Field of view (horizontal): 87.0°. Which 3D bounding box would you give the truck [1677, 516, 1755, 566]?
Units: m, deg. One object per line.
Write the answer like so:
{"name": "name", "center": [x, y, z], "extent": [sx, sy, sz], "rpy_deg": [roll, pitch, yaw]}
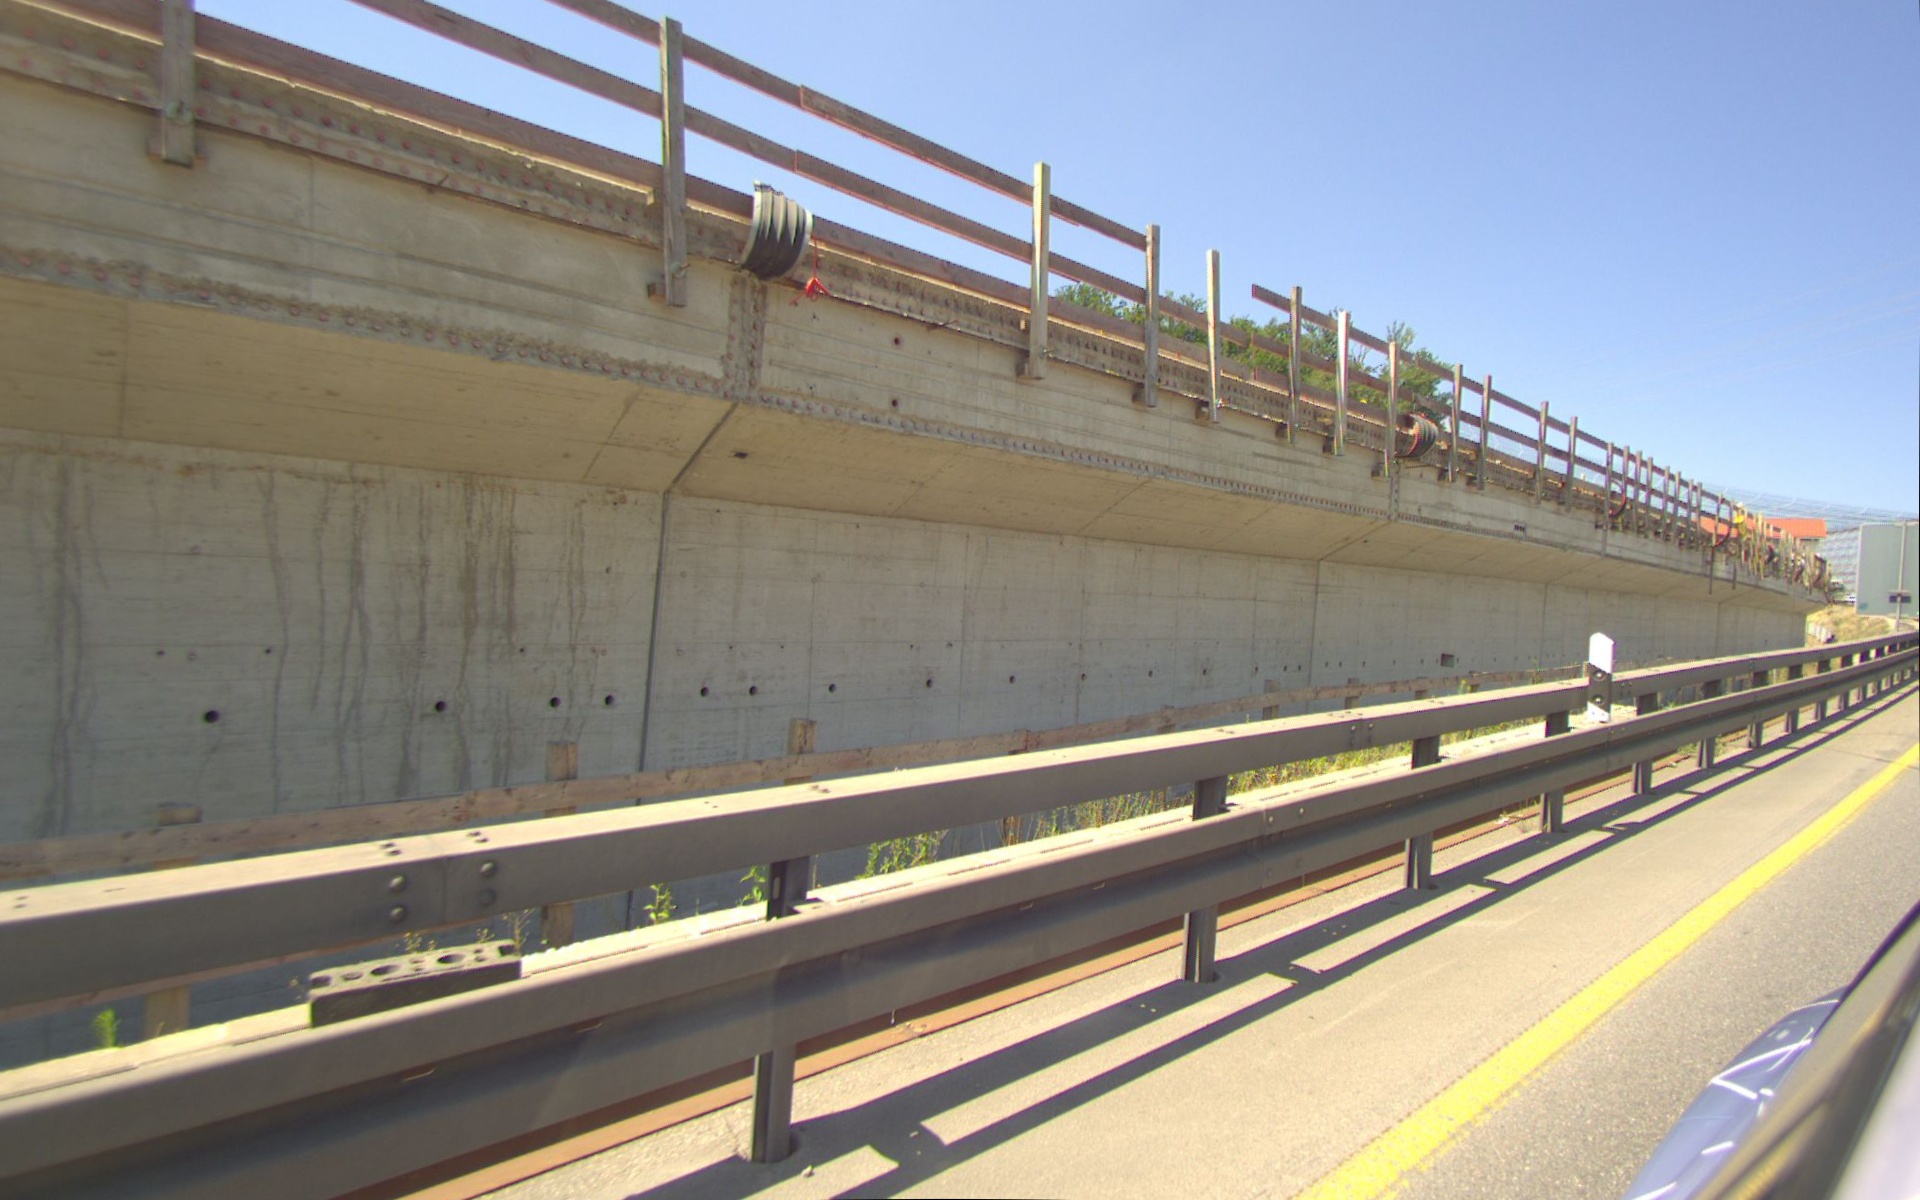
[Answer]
{"name": "truck", "center": [63.406, -4.907, 84.900], "extent": [5.591, 3.741, 2.725], "rpy_deg": [3, 0, -24]}
